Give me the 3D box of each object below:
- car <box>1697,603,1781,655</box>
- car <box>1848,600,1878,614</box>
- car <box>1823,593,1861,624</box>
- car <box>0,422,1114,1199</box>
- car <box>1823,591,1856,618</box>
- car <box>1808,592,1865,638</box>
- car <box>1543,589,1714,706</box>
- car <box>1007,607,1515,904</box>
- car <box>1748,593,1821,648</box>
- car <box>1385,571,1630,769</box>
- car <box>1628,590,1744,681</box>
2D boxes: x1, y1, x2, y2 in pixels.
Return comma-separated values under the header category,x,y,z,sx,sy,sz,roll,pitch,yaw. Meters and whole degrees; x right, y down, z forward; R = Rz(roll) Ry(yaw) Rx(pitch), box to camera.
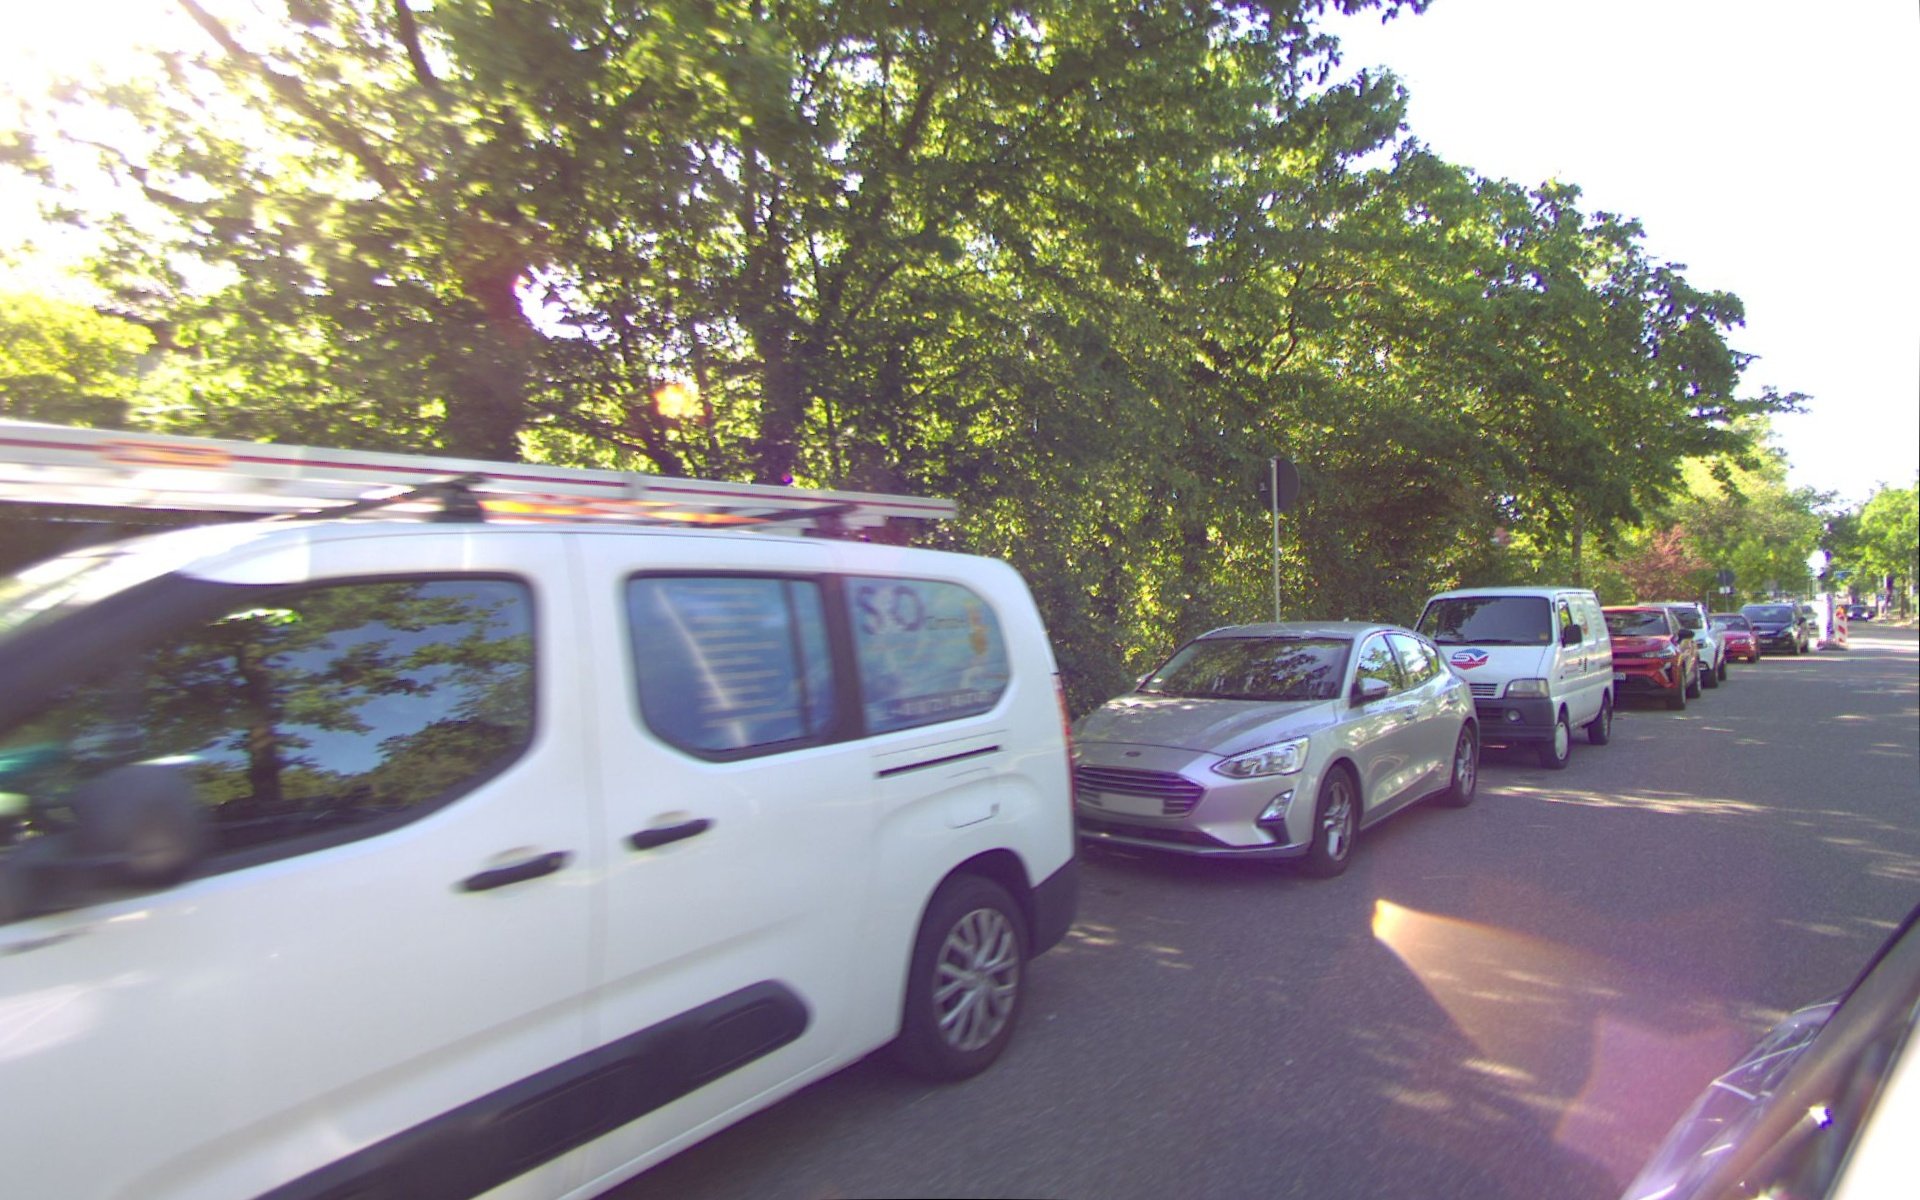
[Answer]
category,x,y,z,sx,sy,sz,roll,pitch,yaw
car,22.056,0.787,28.629,1.496,1.376,3.412,-2,-1,44
car,89.096,0.687,99.848,1.990,1.384,3.943,0,0,39
car,49.379,0.447,56.635,1.418,1.674,3.848,-2,-1,44
car,-1.521,0.637,2.678,1.746,1.771,4.569,-2,-1,39
car,57.614,0.289,66.296,1.418,1.674,3.848,-2,-1,44
car,33.594,0.566,38.770,1.446,1.674,3.661,-2,-1,44
car,10.850,0.688,16.316,1.766,1.659,3.696,-2,-1,42
car,2.441,0.813,7.290,1.716,1.463,4.544,-3,-2,42
car,26.704,0.641,32.730,1.496,1.674,4.027,-2,-1,44
car,6.051,0.635,10.988,1.495,1.777,3.744,-2,-1,42
car,14.692,0.662,20.408,1.495,1.659,3.696,-2,-1,42
